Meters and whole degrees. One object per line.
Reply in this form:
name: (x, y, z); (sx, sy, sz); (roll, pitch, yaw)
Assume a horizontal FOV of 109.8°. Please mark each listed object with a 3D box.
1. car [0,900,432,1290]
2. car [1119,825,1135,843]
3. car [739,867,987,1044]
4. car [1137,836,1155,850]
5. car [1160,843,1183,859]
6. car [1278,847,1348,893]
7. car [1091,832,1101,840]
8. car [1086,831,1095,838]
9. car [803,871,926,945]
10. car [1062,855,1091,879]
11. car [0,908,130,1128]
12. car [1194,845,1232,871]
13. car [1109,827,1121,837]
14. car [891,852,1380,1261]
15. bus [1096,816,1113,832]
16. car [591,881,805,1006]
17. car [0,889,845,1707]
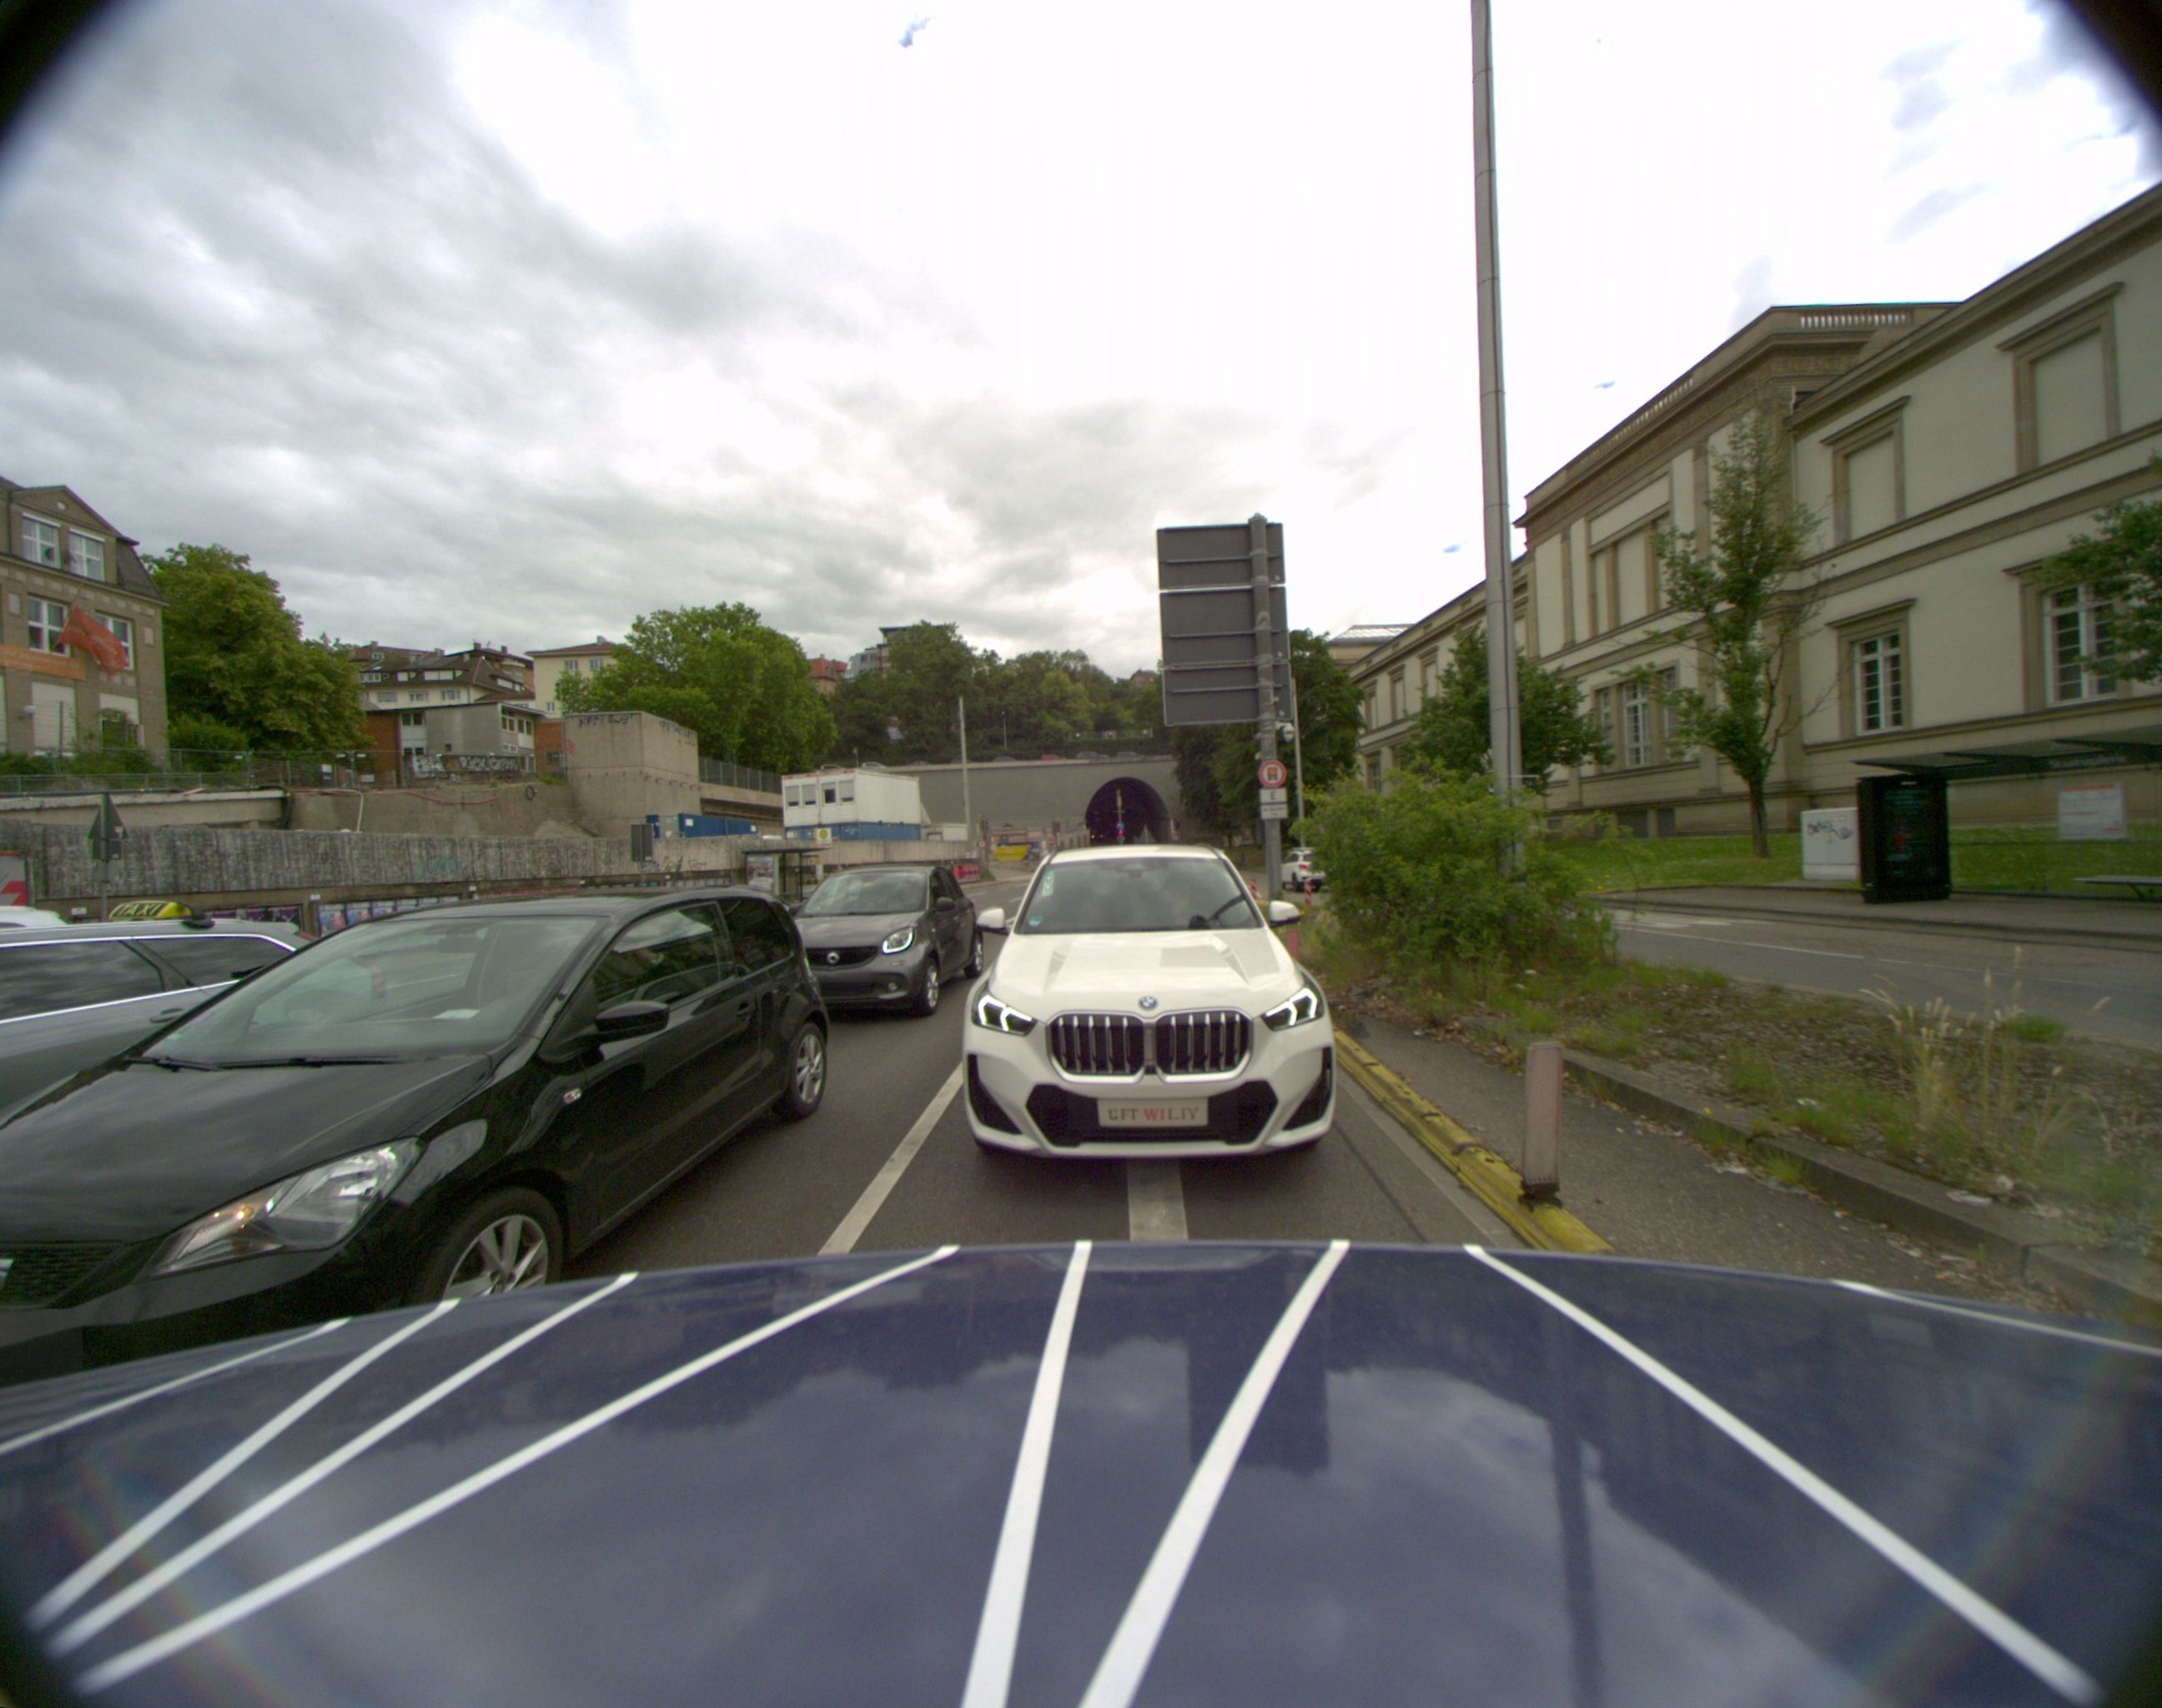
car: (-5.863, 1.212, 3.305); (1.829, 1.615, 4.808); (-2, 1, 1)
car: (6.808, -2.999, 113.349); (2.203, 2.493, 4.758); (-2, 1, 2)
car: (-2.261, 0.985, 8.894); (1.720, 1.535, 3.575); (-2, 0, 2)
car: (7.858, -1.306, 91.877); (1.778, 1.609, 3.802); (-2, 1, -1)
car: (8.609, -0.264, 72.688); (1.646, 1.469, 3.574); (-2, 0, -2)
car: (9.077, 0.595, 30.055); (1.902, 1.615, 4.110); (-2, 0, 7)
car: (2.540, -3.018, 128.407); (1.680, 1.358, 3.806); (-2, 1, 1)
car: (1.911, -3.780, 148.025); (1.680, 1.358, 3.806); (-2, 1, 1)
car: (-4.925, 1.171, 17.815); (1.680, 1.358, 3.806); (-2, 1, 1)
car: (-0.297, 0.838, 51.185); (1.680, 1.450, 3.807); (-2, 1, 3)
car: (-9.113, 1.325, 4.447); (1.680, 1.615, 4.209); (-2, 1, 1)
car: (9.390, 0.239, 54.235); (1.875, 1.681, 4.267); (-2, 1, 0)
car: (6.349, -3.993, 141.293); (1.946, 1.714, 4.000); (-2, 1, 4)
car: (0.256, 0.852, 5.020); (1.987, 1.615, 3.670); (-2, 1, 1)
bus: (5.310, -6.833, 173.326); (3.171, 3.129, 9.118); (-2, 1, -1)
car: (-5.406, 1.202, 11.116); (1.665, 1.423, 2.714); (-2, 1, 1)
car: (-2.578, 1.022, 3.345); (1.829, 1.450, 3.700); (-2, 1, 1)
